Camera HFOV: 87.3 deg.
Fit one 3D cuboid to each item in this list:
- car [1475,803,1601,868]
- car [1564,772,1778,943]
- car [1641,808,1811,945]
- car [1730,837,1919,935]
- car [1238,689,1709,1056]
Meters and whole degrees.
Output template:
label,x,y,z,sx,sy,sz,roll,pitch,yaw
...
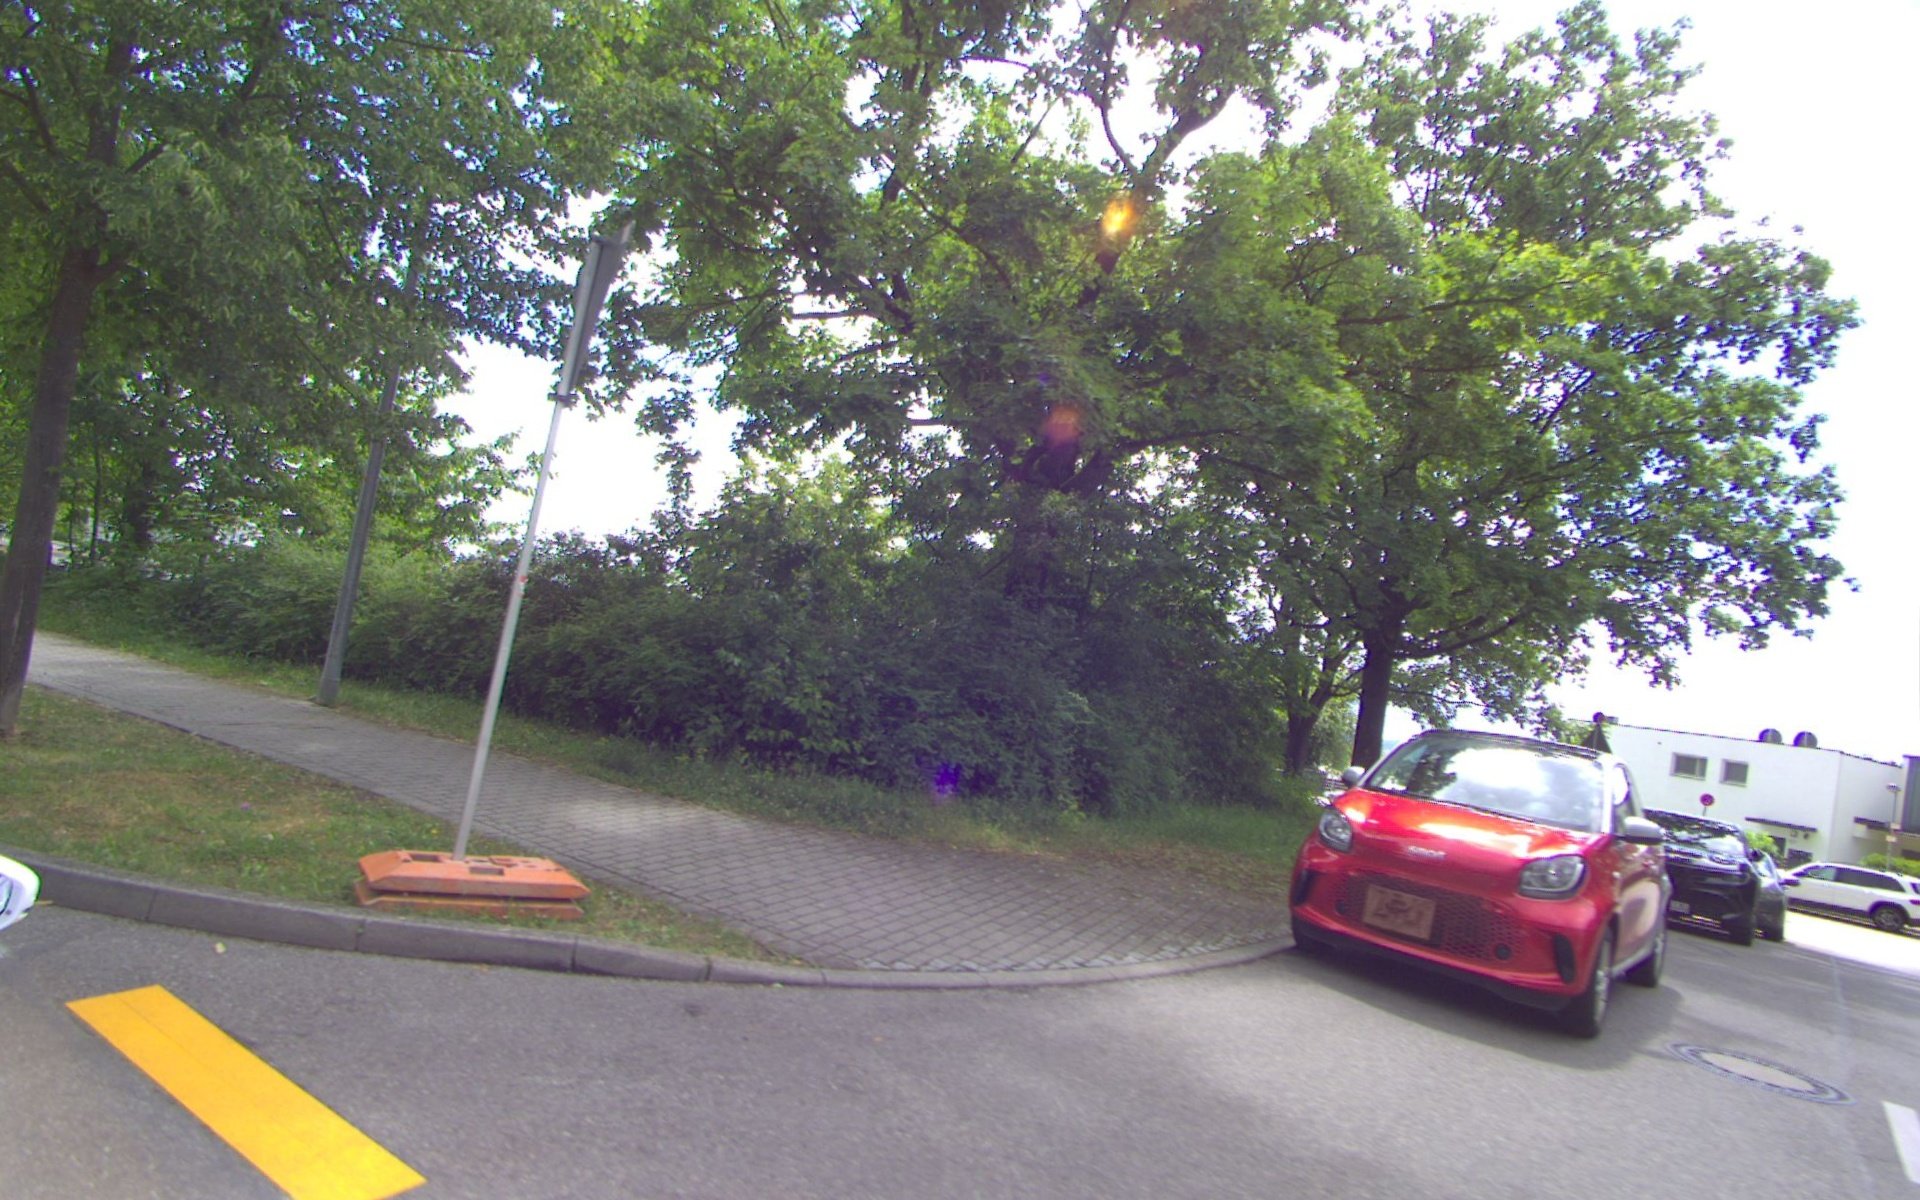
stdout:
label,x,y,z,sx,sy,sz,roll,pitch,yaw
car,20.487,8.323,35.693,3.555,1.613,1.734,2,-8,40
car,9.890,3.561,13.853,1.972,1.609,3.998,6,-9,41
car,13.106,4.718,17.159,1.972,1.609,3.998,6,-9,41
car,26.200,8.564,30.197,4.634,1.751,1.995,5,-8,44
car,3.574,1.631,6.679,1.758,1.496,3.535,7,-4,43
